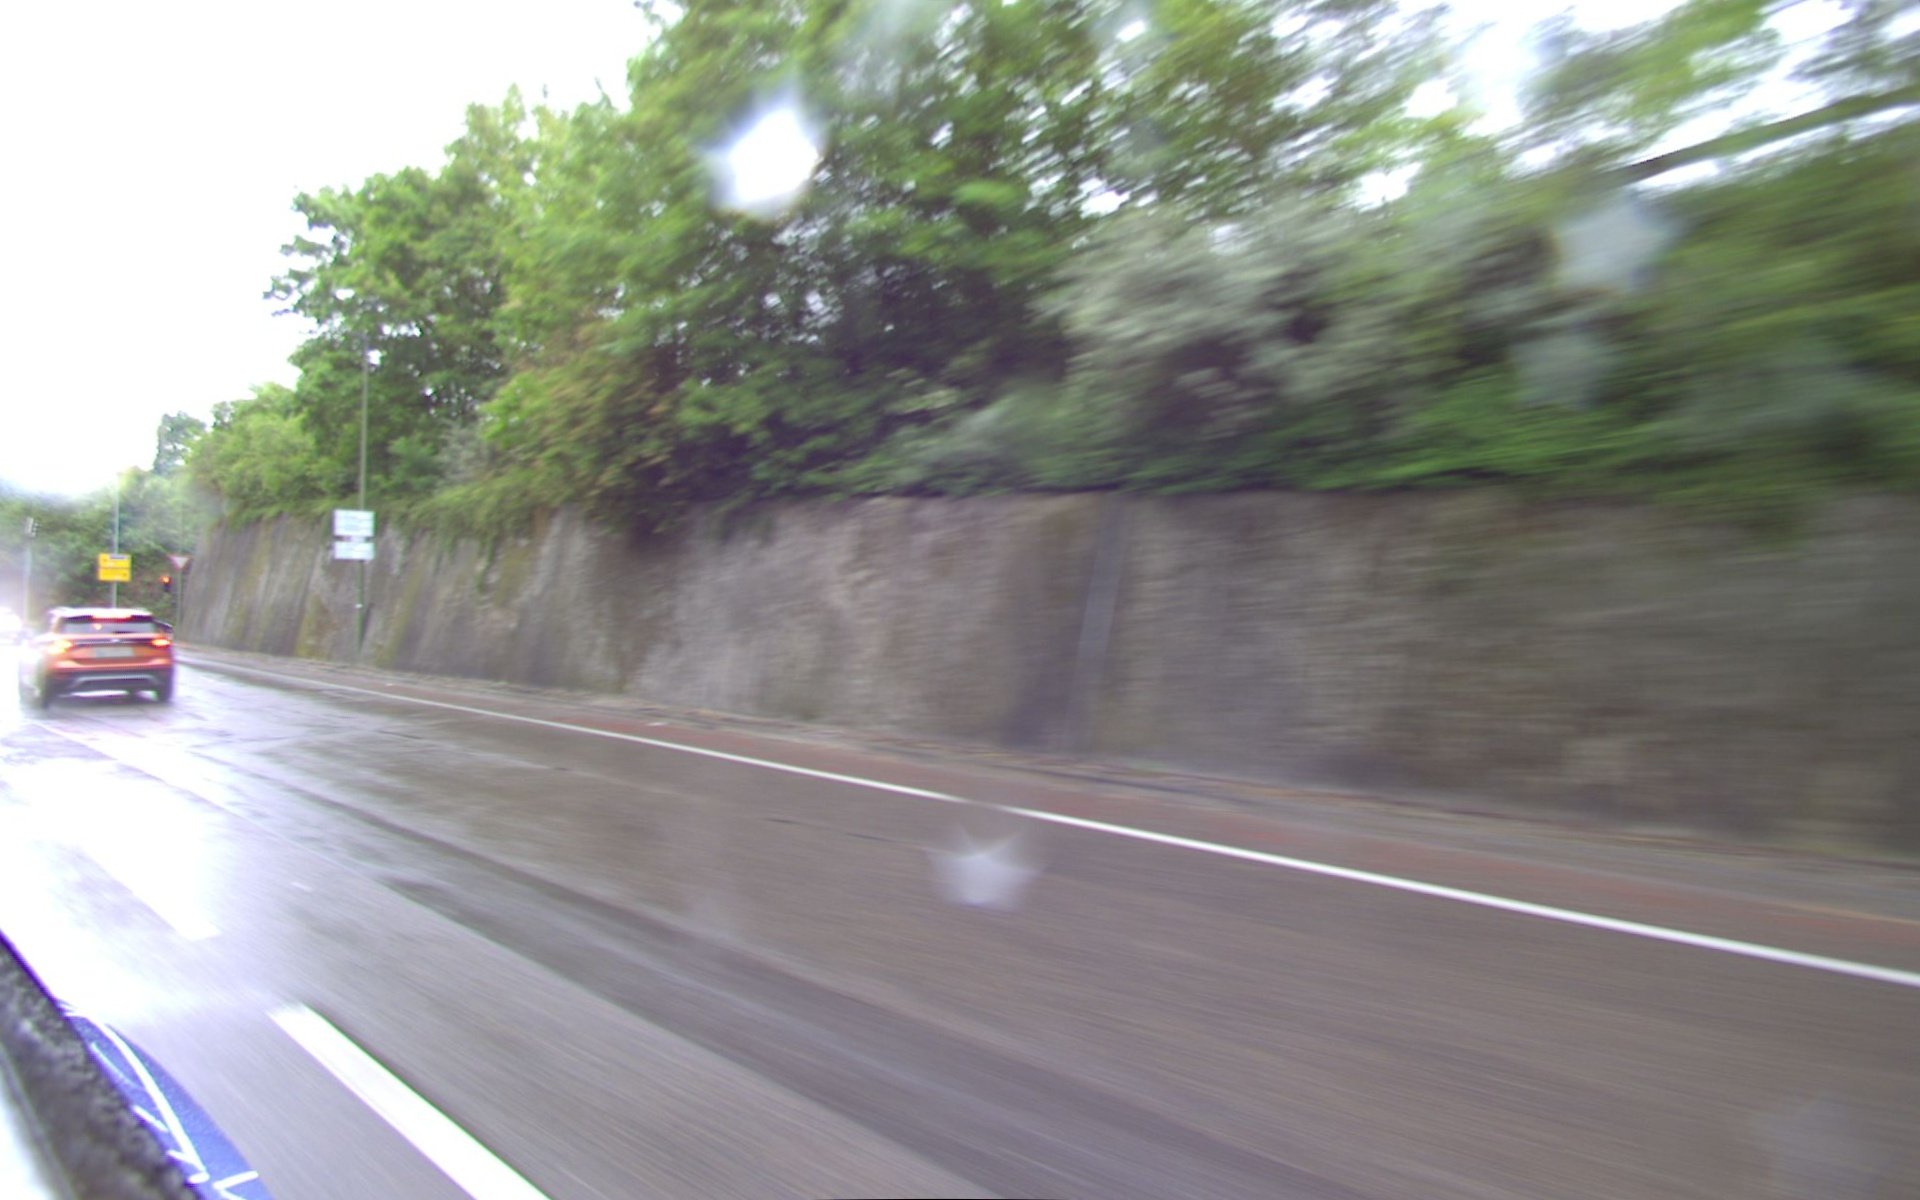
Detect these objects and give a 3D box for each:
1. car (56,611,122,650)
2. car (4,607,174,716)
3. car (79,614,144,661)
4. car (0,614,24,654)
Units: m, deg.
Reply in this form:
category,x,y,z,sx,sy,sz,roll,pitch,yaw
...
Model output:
category,x,y,z,sx,sy,sz,roll,pitch,yaw
car,-38.988,1.350,45.250,1.970,1.514,4.734,5,-3,-43
car,-15.040,0.957,17.417,3.999,1.630,1.714,0,-1,42
car,-33.726,1.464,40.197,1.793,1.670,4.056,2,-1,-42
car,-40.526,1.424,42.404,1.846,1.614,4.004,2,-3,-43
